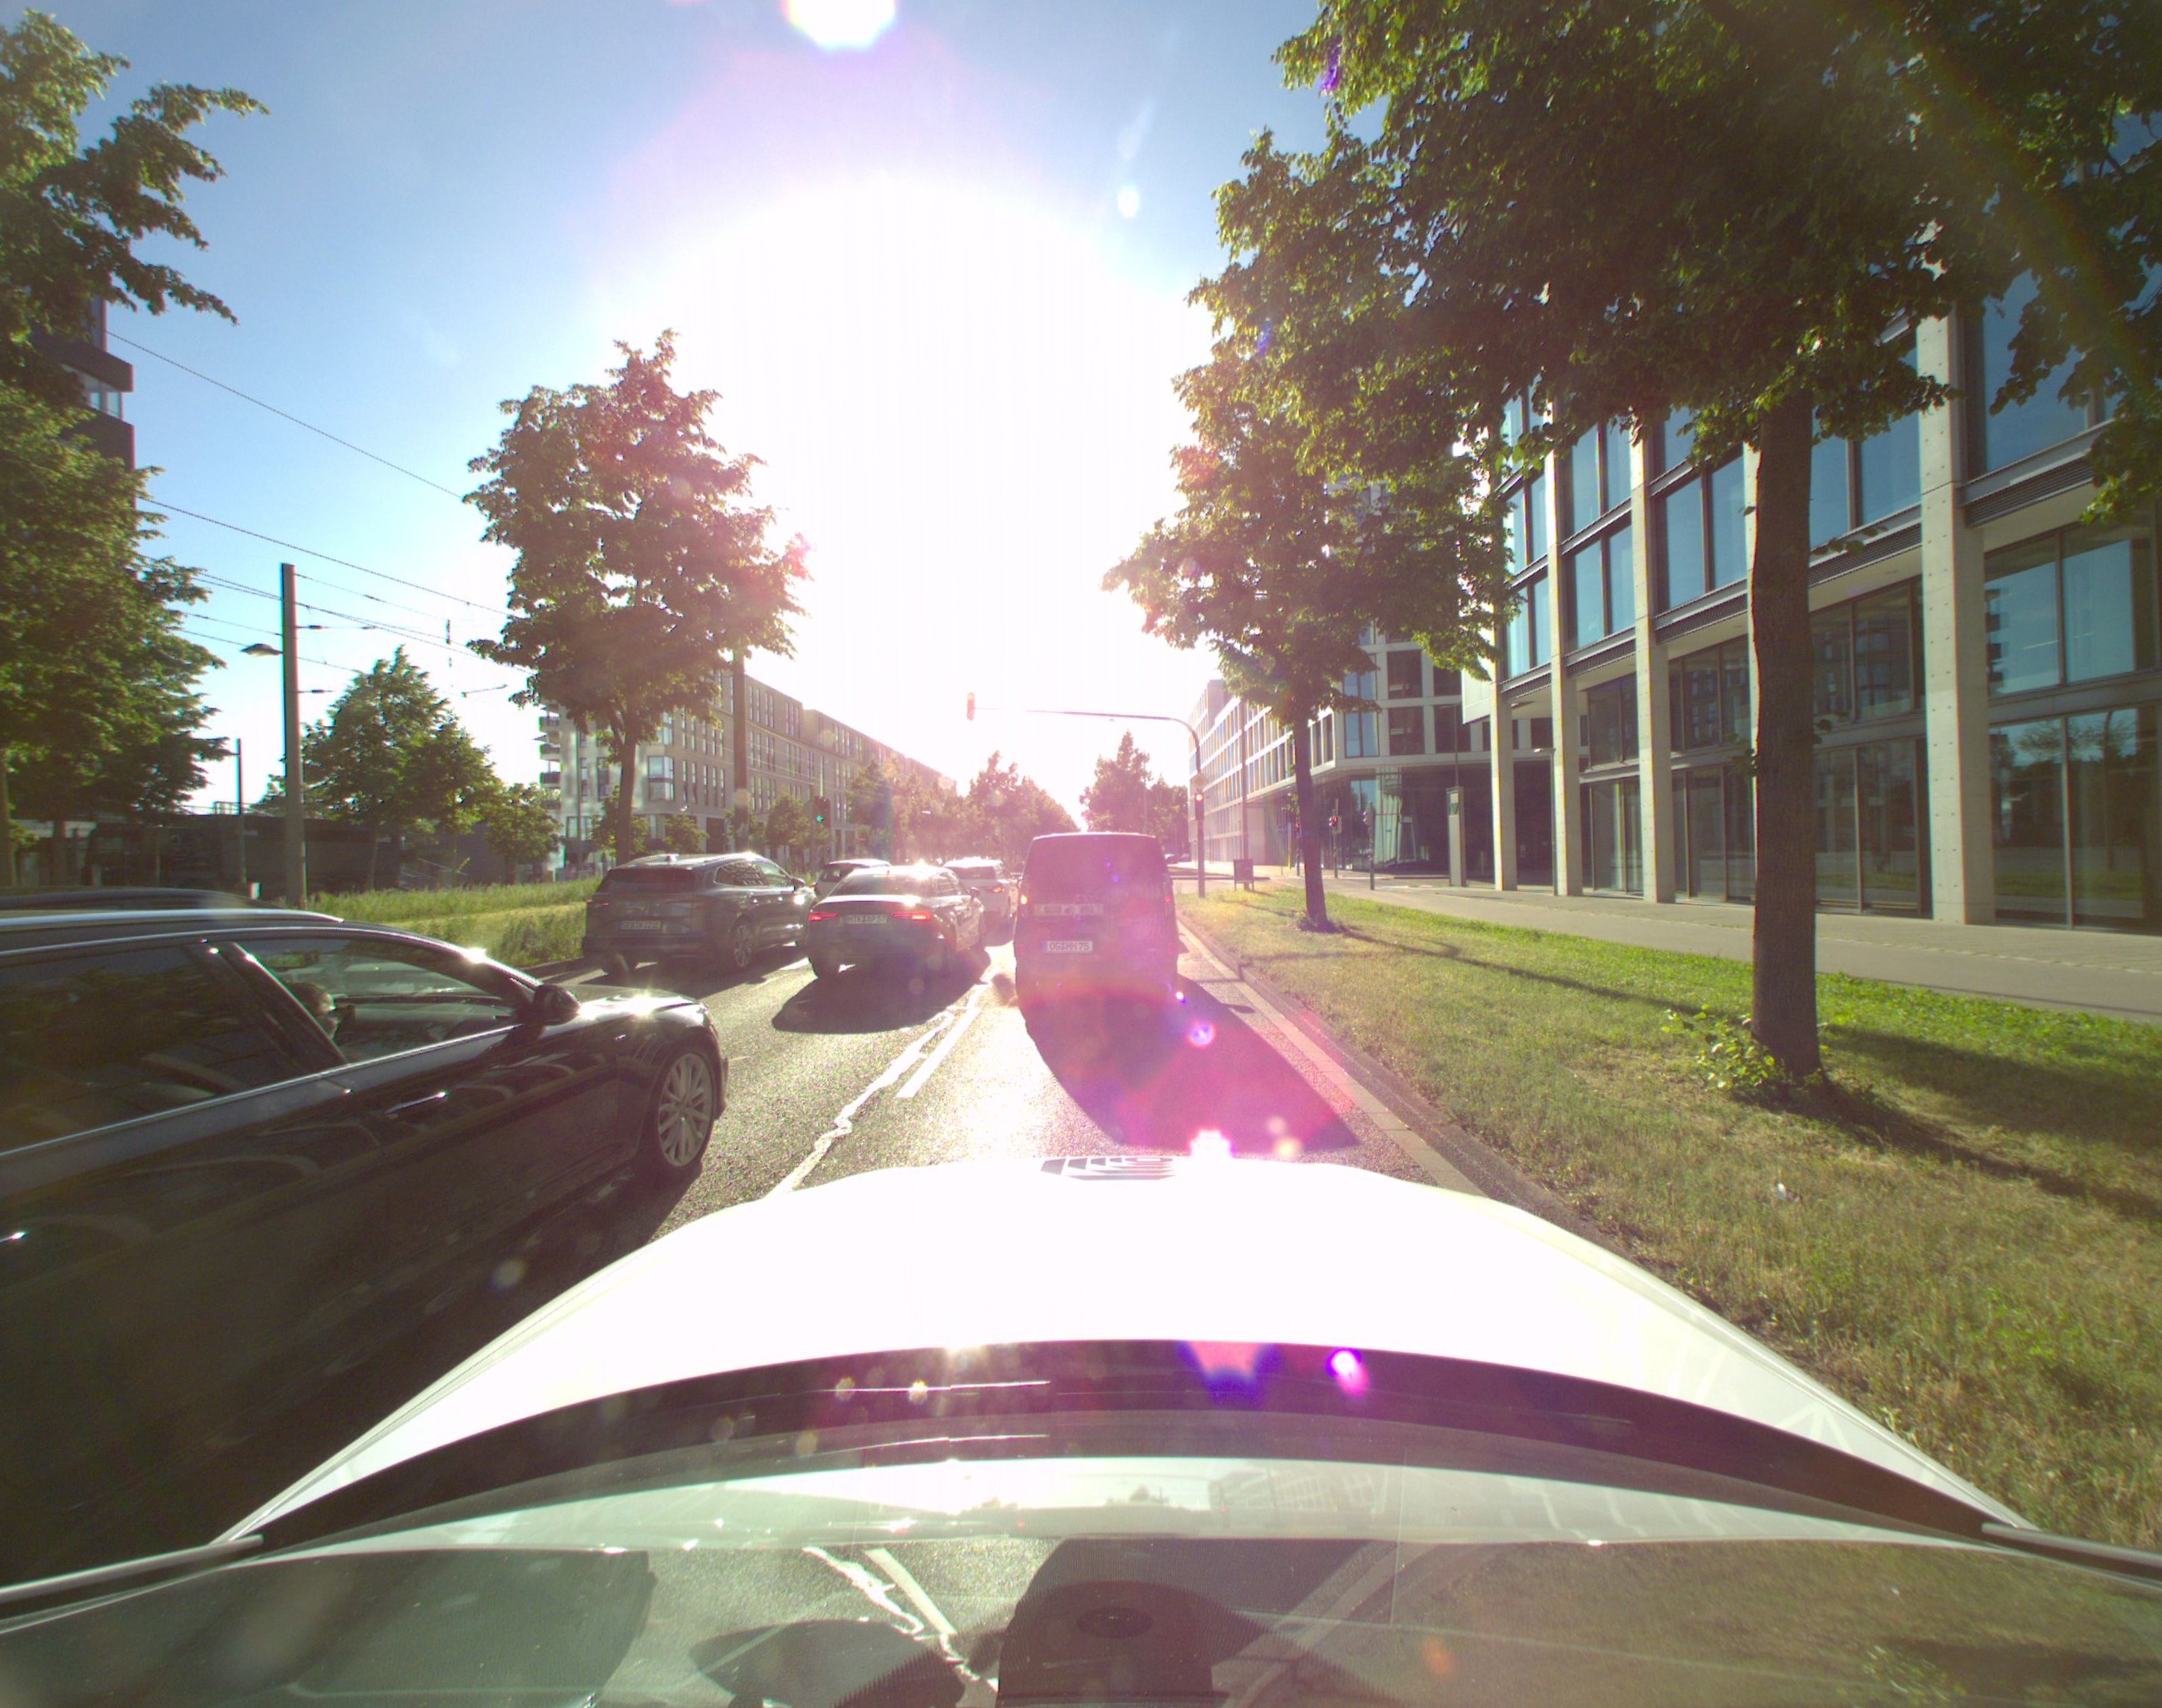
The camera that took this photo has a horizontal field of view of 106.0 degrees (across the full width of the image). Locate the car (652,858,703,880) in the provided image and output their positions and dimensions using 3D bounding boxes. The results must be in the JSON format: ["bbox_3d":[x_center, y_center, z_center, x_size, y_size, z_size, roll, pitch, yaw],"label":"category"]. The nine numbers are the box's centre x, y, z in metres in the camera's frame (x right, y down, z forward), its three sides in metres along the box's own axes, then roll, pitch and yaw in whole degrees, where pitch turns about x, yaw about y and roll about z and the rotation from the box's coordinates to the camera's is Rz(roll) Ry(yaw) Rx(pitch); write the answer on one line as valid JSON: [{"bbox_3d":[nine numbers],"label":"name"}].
[{"bbox_3d":[-31.048,1.132,62.804,1.758,1.520,4.002,-2,0,2],"label":"car"}]

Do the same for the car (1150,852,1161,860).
[{"bbox_3d":[16.473,0.467,180.422,1.986,1.782,4.002,-1,0,2],"label":"car"}]

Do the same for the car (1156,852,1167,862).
[{"bbox_3d":[15.936,0.560,161.221,1.986,1.782,4.002,-1,0,2],"label":"car"}]

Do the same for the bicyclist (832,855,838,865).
[{"bbox_3d":[-36.022,0.889,119.128,0.674,1.529,0.714,-1,0,1],"label":"bicyclist"}]

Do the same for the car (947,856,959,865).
[{"bbox_3d":[-28.933,1.392,184.096,1.986,2.013,4.002,-1,0,2],"label":"car"}]

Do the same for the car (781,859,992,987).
[{"bbox_3d":[-2.506,0.817,11.668,1.835,1.426,4.340,-1,0,2],"label":"car"}]

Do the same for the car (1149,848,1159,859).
[{"bbox_3d":[17.851,-0.059,198.924,1.986,2.497,4.988,-1,0,2],"label":"car"}]

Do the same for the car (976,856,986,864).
[{"bbox_3d":[-27.485,1.620,224.544,1.986,2.013,4.002,-1,0,2],"label":"car"}]

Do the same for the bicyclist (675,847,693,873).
[{"bbox_3d":[-32.191,0.458,66.040,0.936,2.092,0.818,-1,0,1],"label":"bicyclist"}]

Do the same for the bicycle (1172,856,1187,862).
[{"bbox_3d":[17.891,0.912,147.989,2.611,1.106,0.957,-1,0,36],"label":"bicycle"}]

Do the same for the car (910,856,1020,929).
[{"bbox_3d":[-2.492,0.794,18.464,1.797,1.426,3.902,-1,0,2],"label":"car"}]

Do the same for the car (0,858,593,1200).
[{"bbox_3d":[-5.498,0.783,5.254,1.792,1.447,4.570,-1,0,2],"label":"car"}]

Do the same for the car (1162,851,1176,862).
[{"bbox_3d":[14.412,0.397,133.537,1.986,1.782,4.002,-1,0,2],"label":"car"}]

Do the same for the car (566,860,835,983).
[{"bbox_3d":[-5.328,0.836,12.205,1.793,1.447,4.569,-1,0,1],"label":"car"}]

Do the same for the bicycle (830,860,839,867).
[{"bbox_3d":[-36.009,1.364,119.152,0.674,0.988,1.957,-1,0,2],"label":"bicycle"}]

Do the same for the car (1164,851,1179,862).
[{"bbox_3d":[14.299,0.369,128.447,1.986,1.782,4.002,-1,0,2],"label":"car"}]

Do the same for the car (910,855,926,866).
[{"bbox_3d":[-30.132,1.205,151.015,1.986,2.013,4.002,-1,0,2],"label":"car"}]

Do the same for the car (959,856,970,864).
[{"bbox_3d":[-28.647,1.483,200.915,1.986,2.013,4.002,-1,0,2],"label":"car"}]

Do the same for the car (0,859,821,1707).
[{"bbox_3d":[-2.764,0.804,3.082,1.868,1.484,4.967,-1,0,1],"label":"car"}]

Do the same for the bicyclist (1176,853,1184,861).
[{"bbox_3d":[18.003,0.538,147.888,0.974,1.436,0.957,-2,0,36],"label":"bicyclist"}]

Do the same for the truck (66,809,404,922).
[{"bbox_3d":[-33.628,0.397,33.376,2.880,3.853,10.217,-1,0,2],"label":"truck"}]

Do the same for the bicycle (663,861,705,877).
[{"bbox_3d":[-32.165,1.213,66.025,2.932,1.190,0.818,-1,0,0],"label":"bicycle"}]

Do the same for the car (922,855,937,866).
[{"bbox_3d":[-29.722,1.258,160.112,1.986,2.013,4.002,-1,0,2],"label":"car"}]

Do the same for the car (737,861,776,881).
[{"bbox_3d":[-31.804,1.628,79.976,1.986,1.814,4.372,-1,0,2],"label":"car"}]

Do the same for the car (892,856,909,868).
[{"bbox_3d":[-30.607,1.352,138.187,1.986,2.013,4.002,-1,0,2],"label":"car"}]

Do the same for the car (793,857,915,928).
[{"bbox_3d":[-5.491,0.867,20.337,1.794,1.483,4.566,2,0,-1],"label":"car"}]

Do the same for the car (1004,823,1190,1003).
[{"bbox_3d":[0.224,0.593,10.215,1.835,1.780,4.002,-1,0,2],"label":"car"}]

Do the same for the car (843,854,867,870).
[{"bbox_3d":[-30.897,1.072,111.325,1.986,2.013,4.002,-1,0,2],"label":"car"}]

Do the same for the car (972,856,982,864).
[{"bbox_3d":[-27.941,1.585,218.928,1.986,2.013,4.002,-1,0,2],"label":"car"}]
